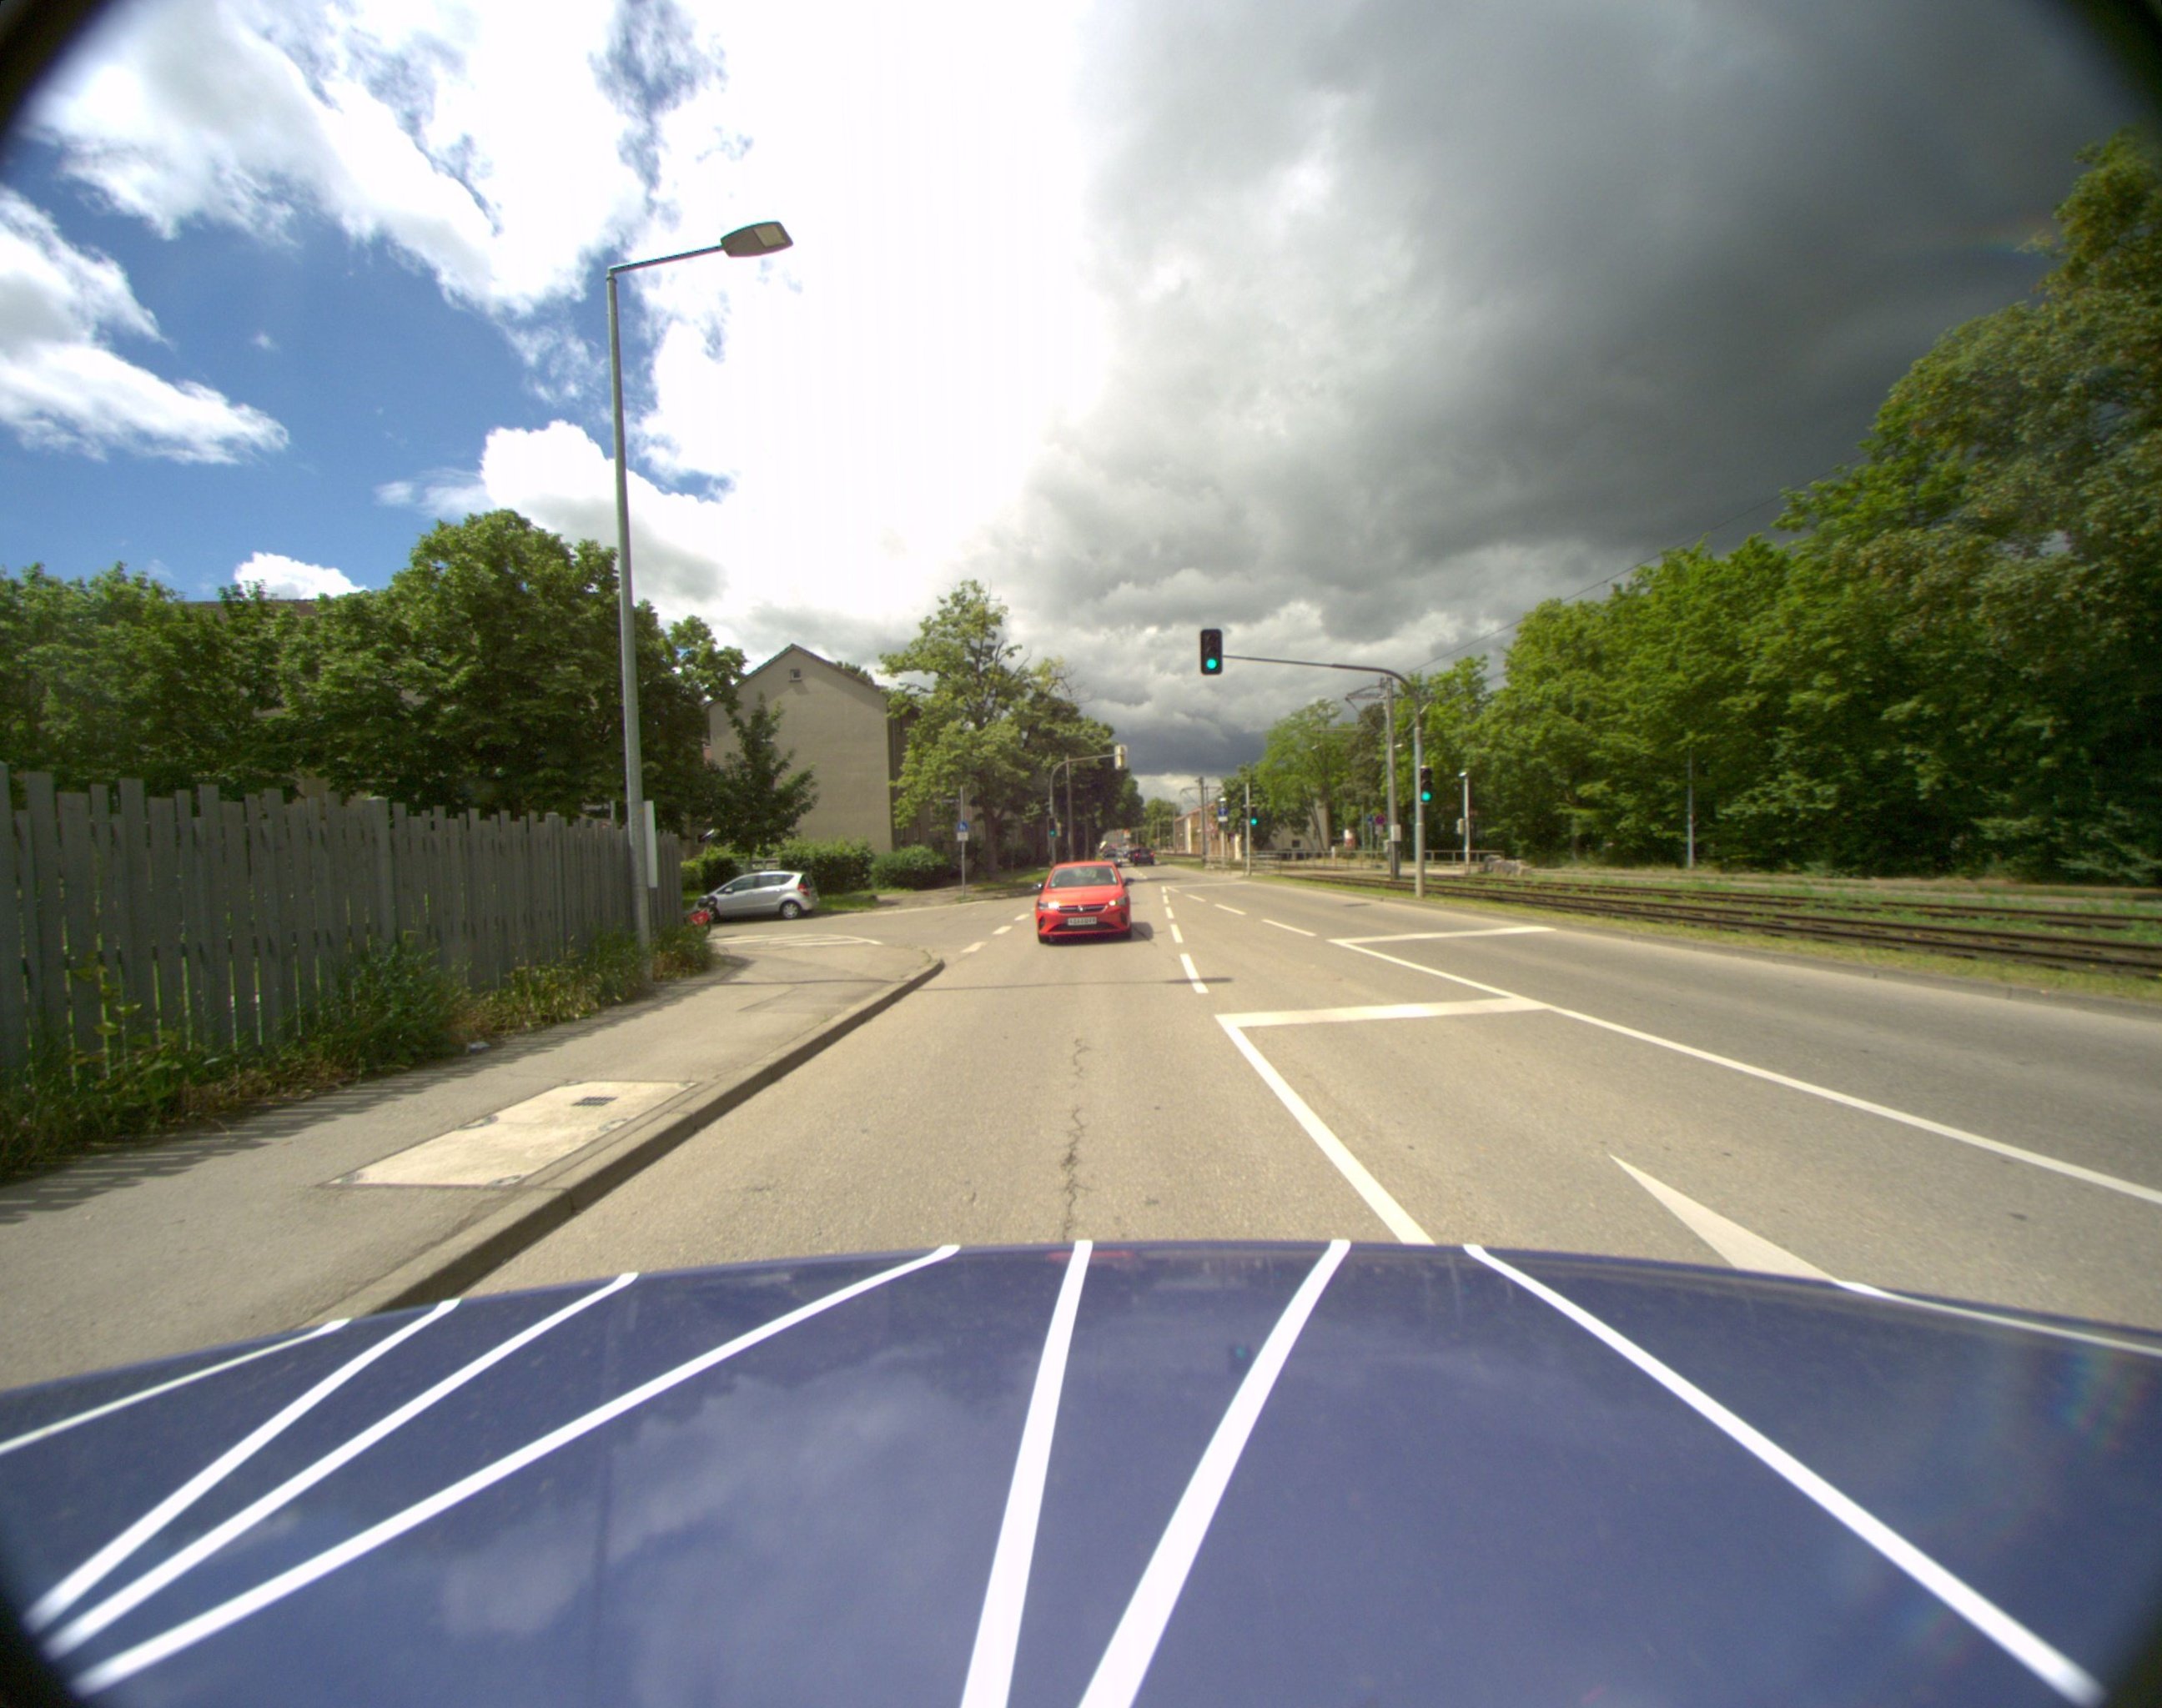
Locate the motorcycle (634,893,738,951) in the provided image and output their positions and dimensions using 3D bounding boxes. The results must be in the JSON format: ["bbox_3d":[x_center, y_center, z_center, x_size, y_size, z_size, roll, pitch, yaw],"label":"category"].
[{"bbox_3d":[-9.881,1.678,19.152,0.659,1.142,2.427,-3,1,21],"label":"motorcycle"}]

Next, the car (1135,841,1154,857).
[{"bbox_3d":[6.933,-0.553,83.185,1.717,1.557,4.166,-4,0,2],"label":"car"}]

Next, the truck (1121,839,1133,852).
[{"bbox_3d":[10.504,-1.951,173.764,2.096,2.724,5.096,-4,1,0],"label":"truck"}]

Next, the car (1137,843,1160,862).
[{"bbox_3d":[6.347,-0.151,71.547,1.711,1.666,4.227,-4,1,1],"label":"car"}]

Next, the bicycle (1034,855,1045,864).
[{"bbox_3d":[-4.969,0.664,91.041,0.437,1.074,1.750,-5,2,-33],"label":"bicycle"}]

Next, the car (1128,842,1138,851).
[{"bbox_3d":[8.845,-1.248,129.704,1.585,1.477,3.807,-3,0,3],"label":"car"}]

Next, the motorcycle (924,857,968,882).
[{"bbox_3d":[-7.382,0.857,41.659,2.208,1.275,0.681,-2,2,10],"label":"motorcycle"}]

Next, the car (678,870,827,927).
[{"bbox_3d":[-10.661,1.418,24.934,3.999,1.545,1.938,-3,1,-6],"label":"car"}]

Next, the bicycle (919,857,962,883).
[{"bbox_3d":[-7.555,0.866,40.889,2.170,1.275,0.681,-2,2,10],"label":"bicycle"}]

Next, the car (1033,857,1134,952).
[{"bbox_3d":[0.110,0.875,14.985,1.666,1.513,3.786,-3,1,2],"label":"car"}]
